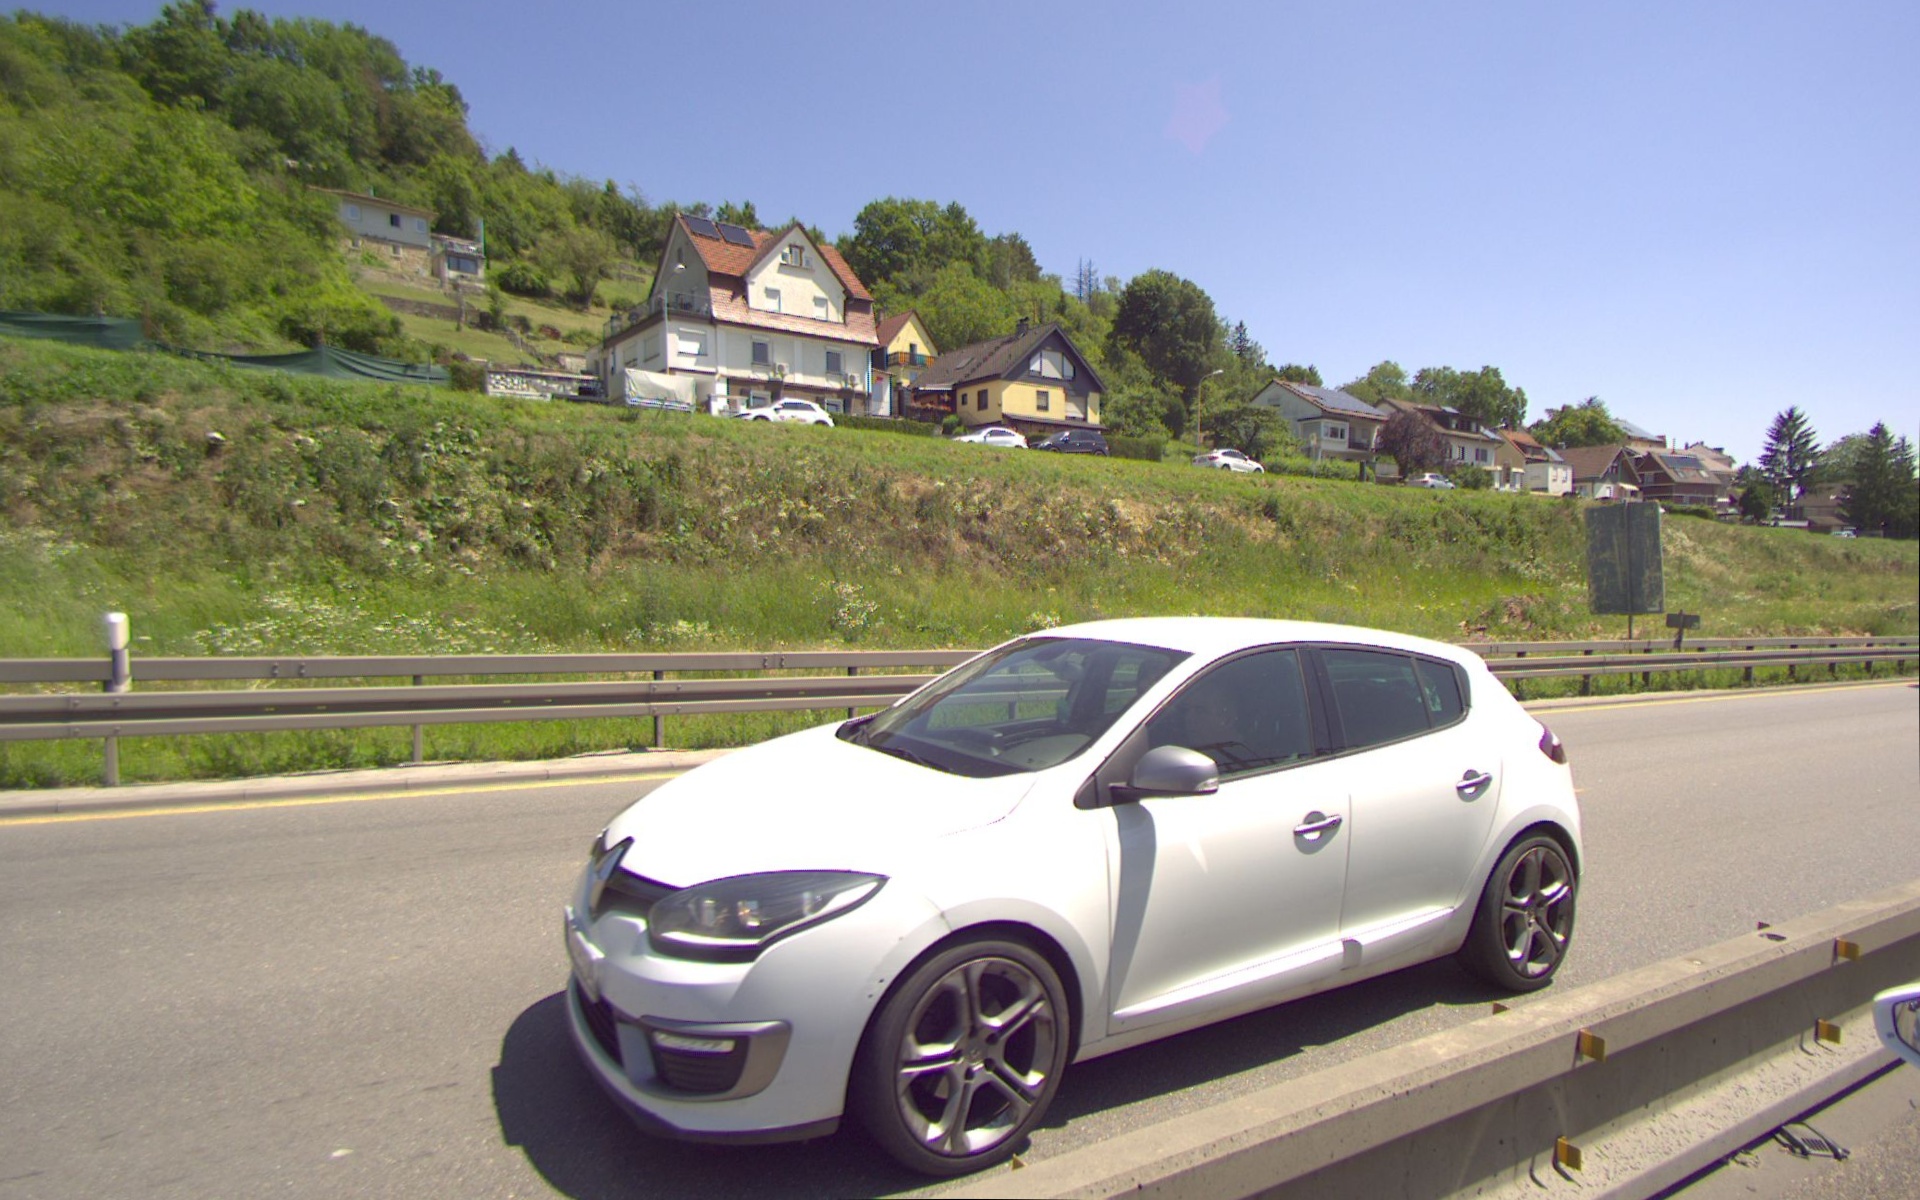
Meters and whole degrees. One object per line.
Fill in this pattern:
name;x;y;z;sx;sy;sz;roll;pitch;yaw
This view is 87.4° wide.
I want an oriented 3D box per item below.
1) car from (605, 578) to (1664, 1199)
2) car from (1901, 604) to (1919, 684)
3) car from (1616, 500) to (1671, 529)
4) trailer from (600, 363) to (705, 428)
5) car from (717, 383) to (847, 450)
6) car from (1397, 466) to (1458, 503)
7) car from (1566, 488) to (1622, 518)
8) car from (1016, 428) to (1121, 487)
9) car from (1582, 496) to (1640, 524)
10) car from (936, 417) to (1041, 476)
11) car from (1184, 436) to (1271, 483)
car;0.816;0.724;4.020;3.953;1.483;1.793;1;0;-30
car;21.512;0.946;20.820;4.235;1.603;1.764;1;1;-30
car;59.801;-7.450;87.886;4.767;2.068;2.334;2;0;-33
trailer;-10.851;-7.170;35.469;3.014;1.536;1.885;2;0;-41
car;-6.830;-7.005;38.770;4.515;1.678;1.977;2;0;-40
car;30.662;-7.542;65.900;3.963;1.817;1.979;2;0;-37
car;50.299;-7.685;79.684;4.719;1.817;2.163;2;0;-37
car;5.284;-6.828;48.572;4.924;2.035;2.057;2;0;-35
car;54.659;-7.494;84.353;4.751;1.817;2.334;2;0;-33
car;1.307;-6.860;45.381;4.388;1.896;1.980;2;0;-36
car;14.778;-7.711;55.431;4.965;1.817;1.979;2;0;-37
